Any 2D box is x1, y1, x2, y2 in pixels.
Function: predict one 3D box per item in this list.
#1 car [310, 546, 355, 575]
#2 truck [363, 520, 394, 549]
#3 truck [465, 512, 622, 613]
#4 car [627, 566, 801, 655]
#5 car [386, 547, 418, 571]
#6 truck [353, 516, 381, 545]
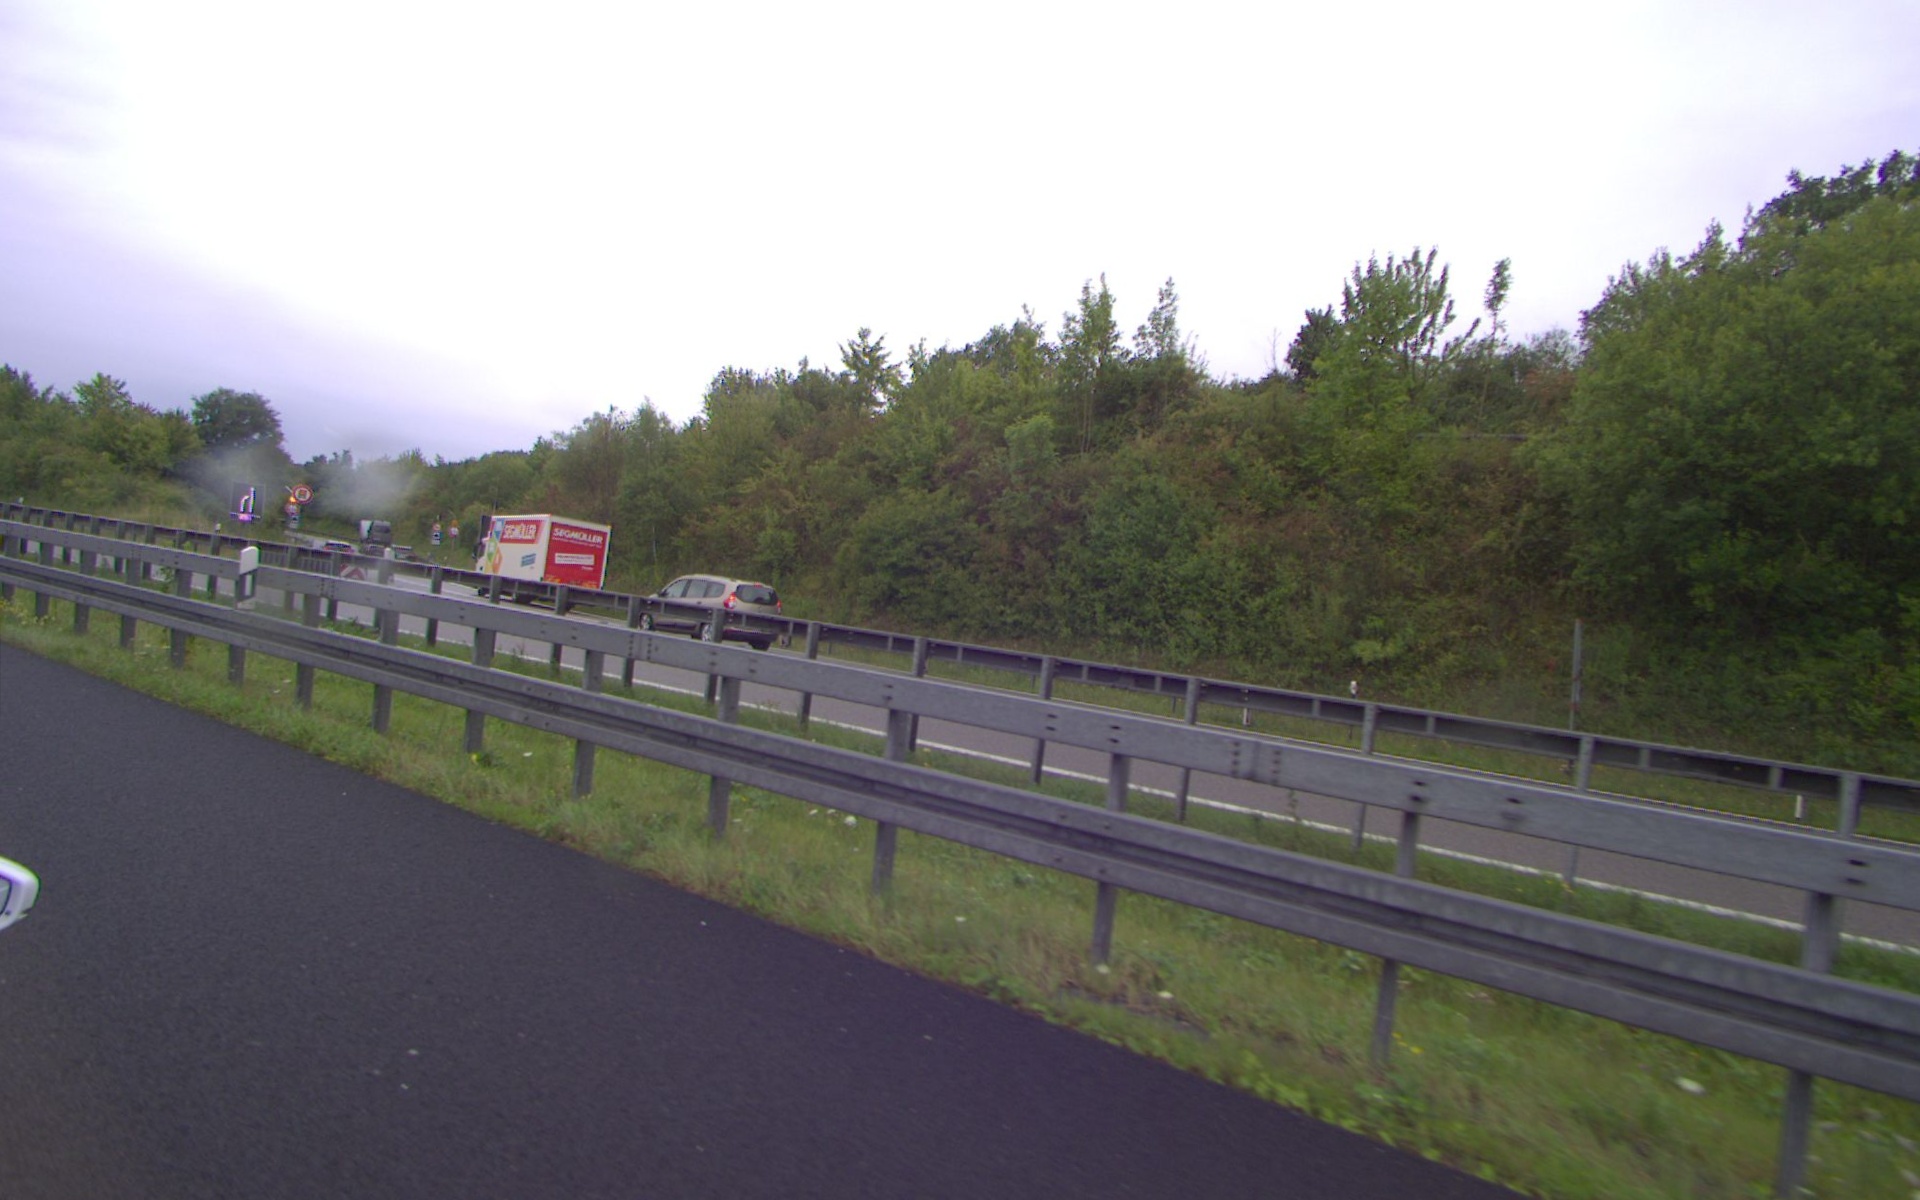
[{"bbox_3d":[-40.442,-2.571,64.822,1.852,1.464,4.112,8,-1,-39],"label":"car"},{"bbox_3d":[-63.349,-7.072,109.753,2.419,2.737,5.530,7,-1,-28],"label":"truck"},{"bbox_3d":[-17.225,-1.664,41.166,2.889,3.435,8.869,8,-1,-42],"label":"truck"},{"bbox_3d":[-6.146,0.224,24.829,4.411,1.678,1.857,6,-1,42],"label":"car"},{"bbox_3d":[-41.550,-3.079,74.881,1.846,1.464,4.125,7,-1,-30],"label":"car"},{"bbox_3d":[-69.442,-8.058,117.833,2.227,2.913,8.114,7,-1,-28],"label":"truck"}]
